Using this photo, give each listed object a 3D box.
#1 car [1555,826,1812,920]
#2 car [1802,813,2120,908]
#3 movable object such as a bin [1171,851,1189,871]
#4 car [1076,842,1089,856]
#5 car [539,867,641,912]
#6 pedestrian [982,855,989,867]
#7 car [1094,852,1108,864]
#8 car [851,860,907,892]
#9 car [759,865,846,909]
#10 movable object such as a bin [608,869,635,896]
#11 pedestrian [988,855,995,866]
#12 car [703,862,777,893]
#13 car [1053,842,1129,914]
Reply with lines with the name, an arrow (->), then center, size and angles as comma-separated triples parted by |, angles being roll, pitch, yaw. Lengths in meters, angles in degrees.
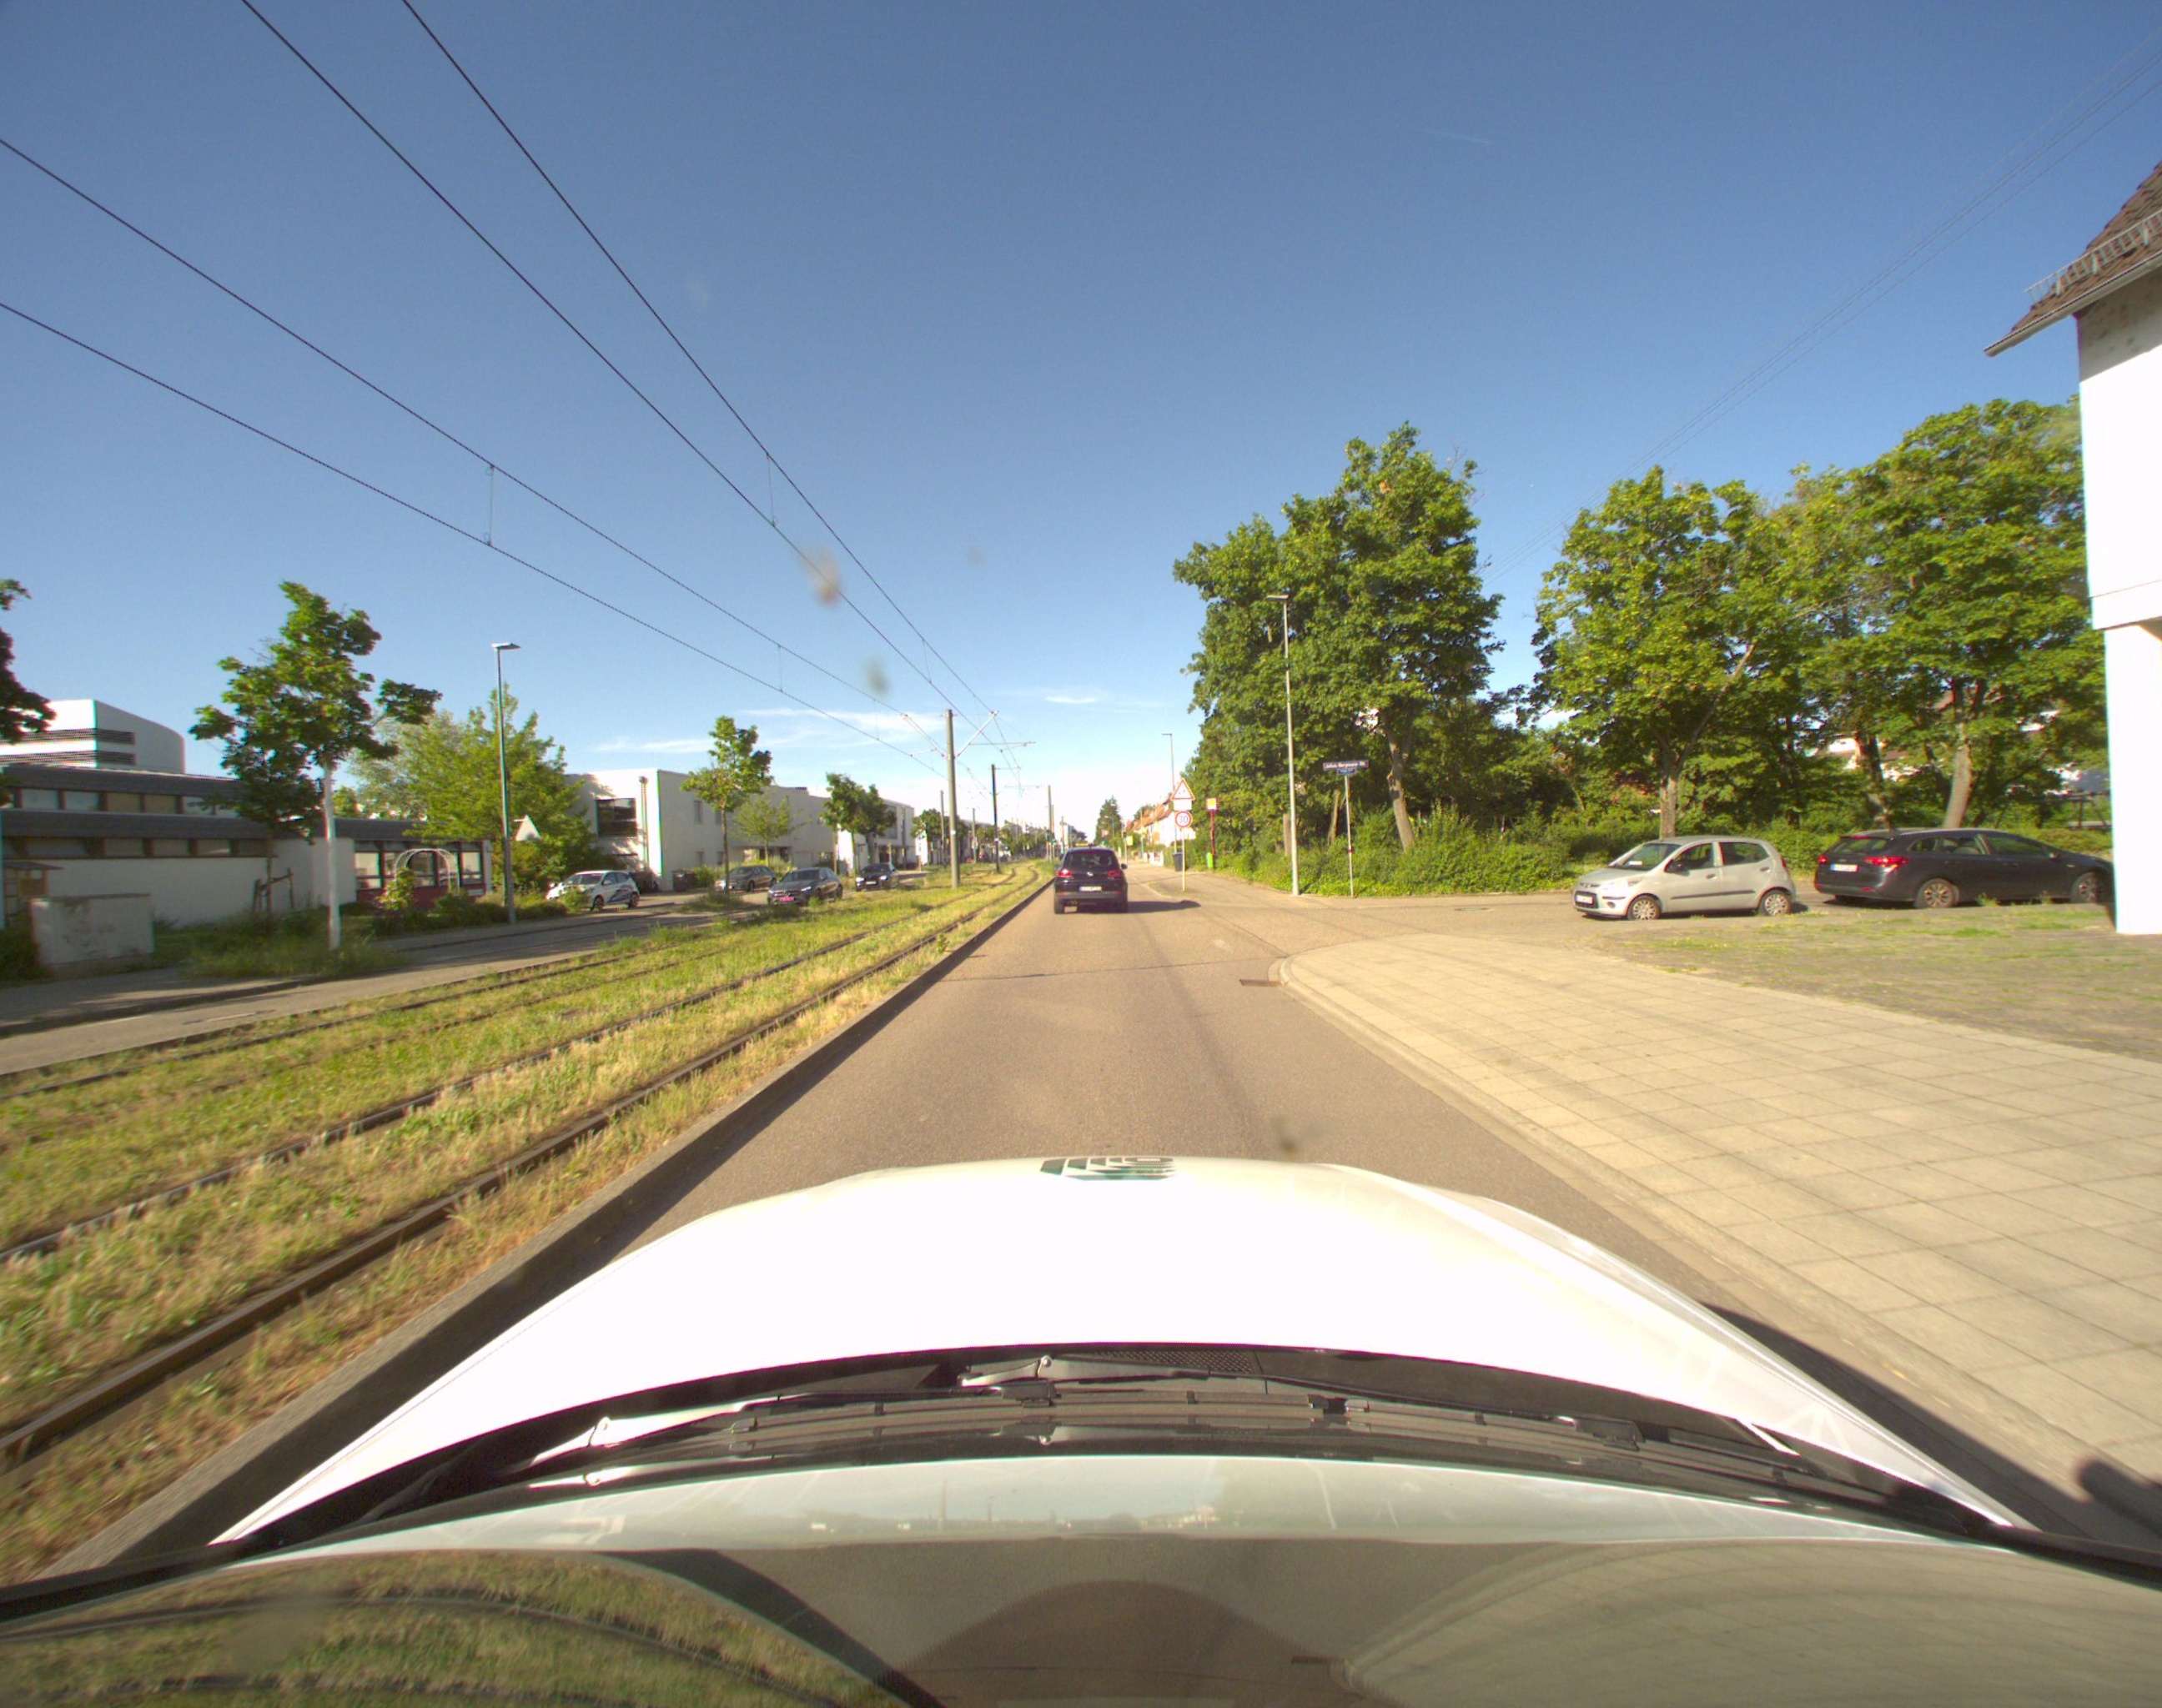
car -> 11.273, 0.349, 15.427 | 3.581, 1.530, 1.648 | -3, -1, 2
car -> 16.288, 0.111, 15.236 | 3.987, 1.497, 1.745 | -3, 0, 1
movable object such as a bin -> 5.867, 0.397, 48.221 | 0.971, 1.110, 1.172 | -3, 0, 4
car -> 0.318, -0.922, 158.486 | 2.386, 2.564, 5.531 | -2, 0, 2
car -> -18.233, 1.288, 30.456 | 1.539, 1.491, 3.774 | -1, 0, -1
pedestrian -> -13.684, 1.012, 116.461 | 0.884, 1.587, 0.624 | -2, 0, -18
car -> 2.938, 0.563, 121.225 | 1.771, 1.670, 3.998 | -2, 0, -1
car -> -10.944, 1.156, 44.487 | 1.757, 1.444, 4.915 | -4, 0, -1
car -> -10.528, 1.190, 31.129 | 1.682, 1.388, 4.387 | -4, 0, 0
movable object such as a bin -> -25.424, 1.559, 45.079 | 0.660, 1.433, 1.257 | -1, 0, 8
pedestrian -> -13.473, 0.958, 123.176 | 0.884, 1.587, 0.624 | -2, 0, -18
car -> -18.070, 1.206, 43.397 | 1.802, 1.461, 4.323 | -1, 0, 5
car -> 0.191, 0.579, 21.405 | 1.771, 1.670, 3.998 | -1, 0, -1
